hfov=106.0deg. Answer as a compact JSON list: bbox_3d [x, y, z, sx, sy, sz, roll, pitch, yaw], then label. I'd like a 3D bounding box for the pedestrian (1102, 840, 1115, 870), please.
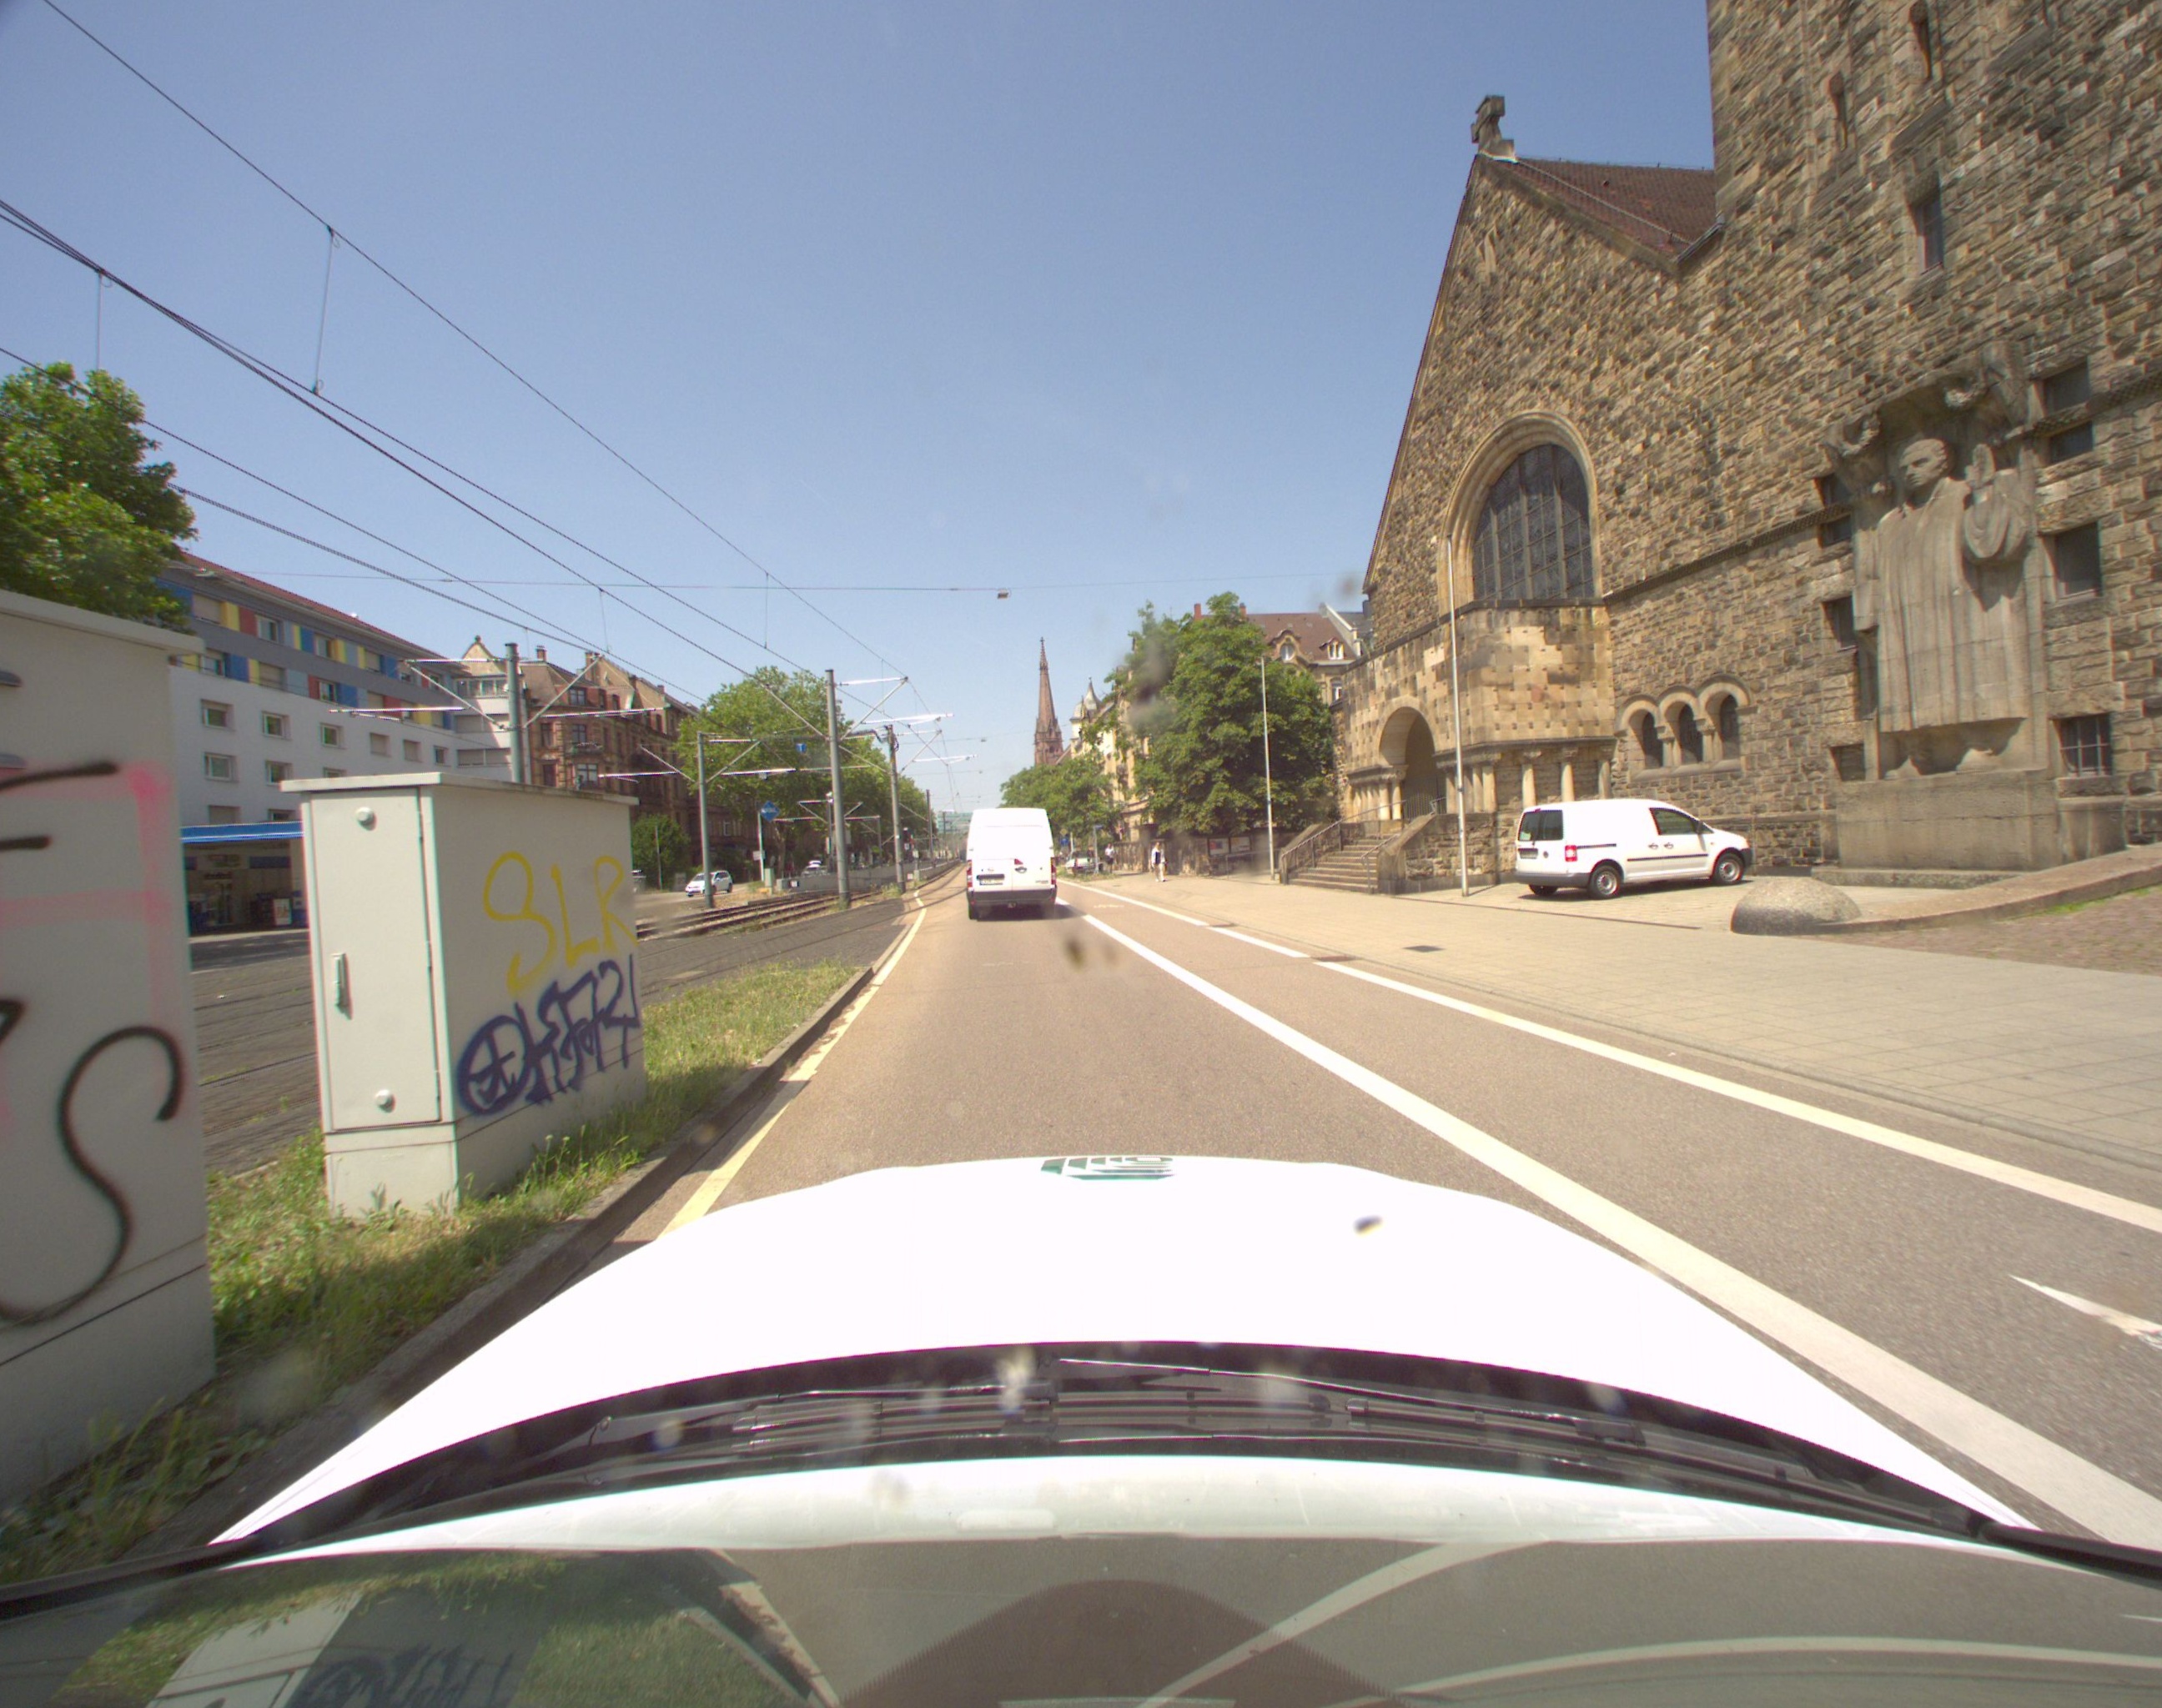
[{"bbox_3d":[1.616,0.050,47.723,0.620,1.754,0.677,-3,0,-6],"label":"pedestrian"}]

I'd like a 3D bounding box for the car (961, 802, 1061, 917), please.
[{"bbox_3d":[-1.872,0.120,20.475,2.116,2.459,5.040,-2,0,-8],"label":"car"}]

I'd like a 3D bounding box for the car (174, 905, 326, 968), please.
[{"bbox_3d":[-28.261,2.764,27.873,1.653,1.684,3.696,-3,0,-8],"label":"car"}]

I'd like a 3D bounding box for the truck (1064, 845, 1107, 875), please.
[{"bbox_3d":[0.205,0.315,46.402,1.788,1.526,4.454,-4,1,-7],"label":"truck"}]

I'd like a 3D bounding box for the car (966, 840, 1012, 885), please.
[{"bbox_3d":[-4.434,0.397,38.860,1.916,1.944,4.251,-3,0,-9],"label":"car"}]

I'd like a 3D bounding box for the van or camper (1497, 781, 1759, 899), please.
[{"bbox_3d":[10.526,-0.278,15.801,3.986,1.825,1.797,-5,1,-9],"label":"van or camper"}]

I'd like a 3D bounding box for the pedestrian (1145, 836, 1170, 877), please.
[{"bbox_3d":[3.166,0.109,33.633,0.793,1.650,0.965,-3,0,-6],"label":"pedestrian"}]

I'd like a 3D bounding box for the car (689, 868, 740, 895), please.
[{"bbox_3d":[-26.086,1.908,58.108,1.845,1.625,4.592,-5,0,-7],"label":"car"}]

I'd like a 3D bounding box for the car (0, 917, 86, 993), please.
[{"bbox_3d":[-22.914,2.200,16.265,1.595,1.420,3.772,-5,1,-8],"label":"car"}]

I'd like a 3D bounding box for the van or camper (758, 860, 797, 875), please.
[{"bbox_3d":[-42.119,1.913,113.016,4.532,1.836,1.931,-3,0,-2],"label":"van or camper"}]

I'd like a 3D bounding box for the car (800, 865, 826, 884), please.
[{"bbox_3d":[-30.421,2.295,92.510,1.993,1.904,4.704,-3,0,-8],"label":"car"}]

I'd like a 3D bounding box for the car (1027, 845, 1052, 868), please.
[{"bbox_3d":[-3.941,0.237,76.998,1.877,1.947,4.824,-5,1,-7],"label":"car"}]

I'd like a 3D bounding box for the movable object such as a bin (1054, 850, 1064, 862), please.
[{"bbox_3d":[-1.924,0.153,70.368,0.785,1.014,0.650,-3,0,-2],"label":"movable object such as a bin"}]

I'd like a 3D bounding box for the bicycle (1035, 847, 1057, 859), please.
[{"bbox_3d":[-3.139,-0.051,73.000,1.886,0.991,0.468,-3,0,-18],"label":"bicycle"}]

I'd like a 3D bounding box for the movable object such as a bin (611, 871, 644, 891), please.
[{"bbox_3d":[-35.773,2.121,64.257,1.782,1.385,1.465,-4,1,-10],"label":"movable object such as a bin"}]
